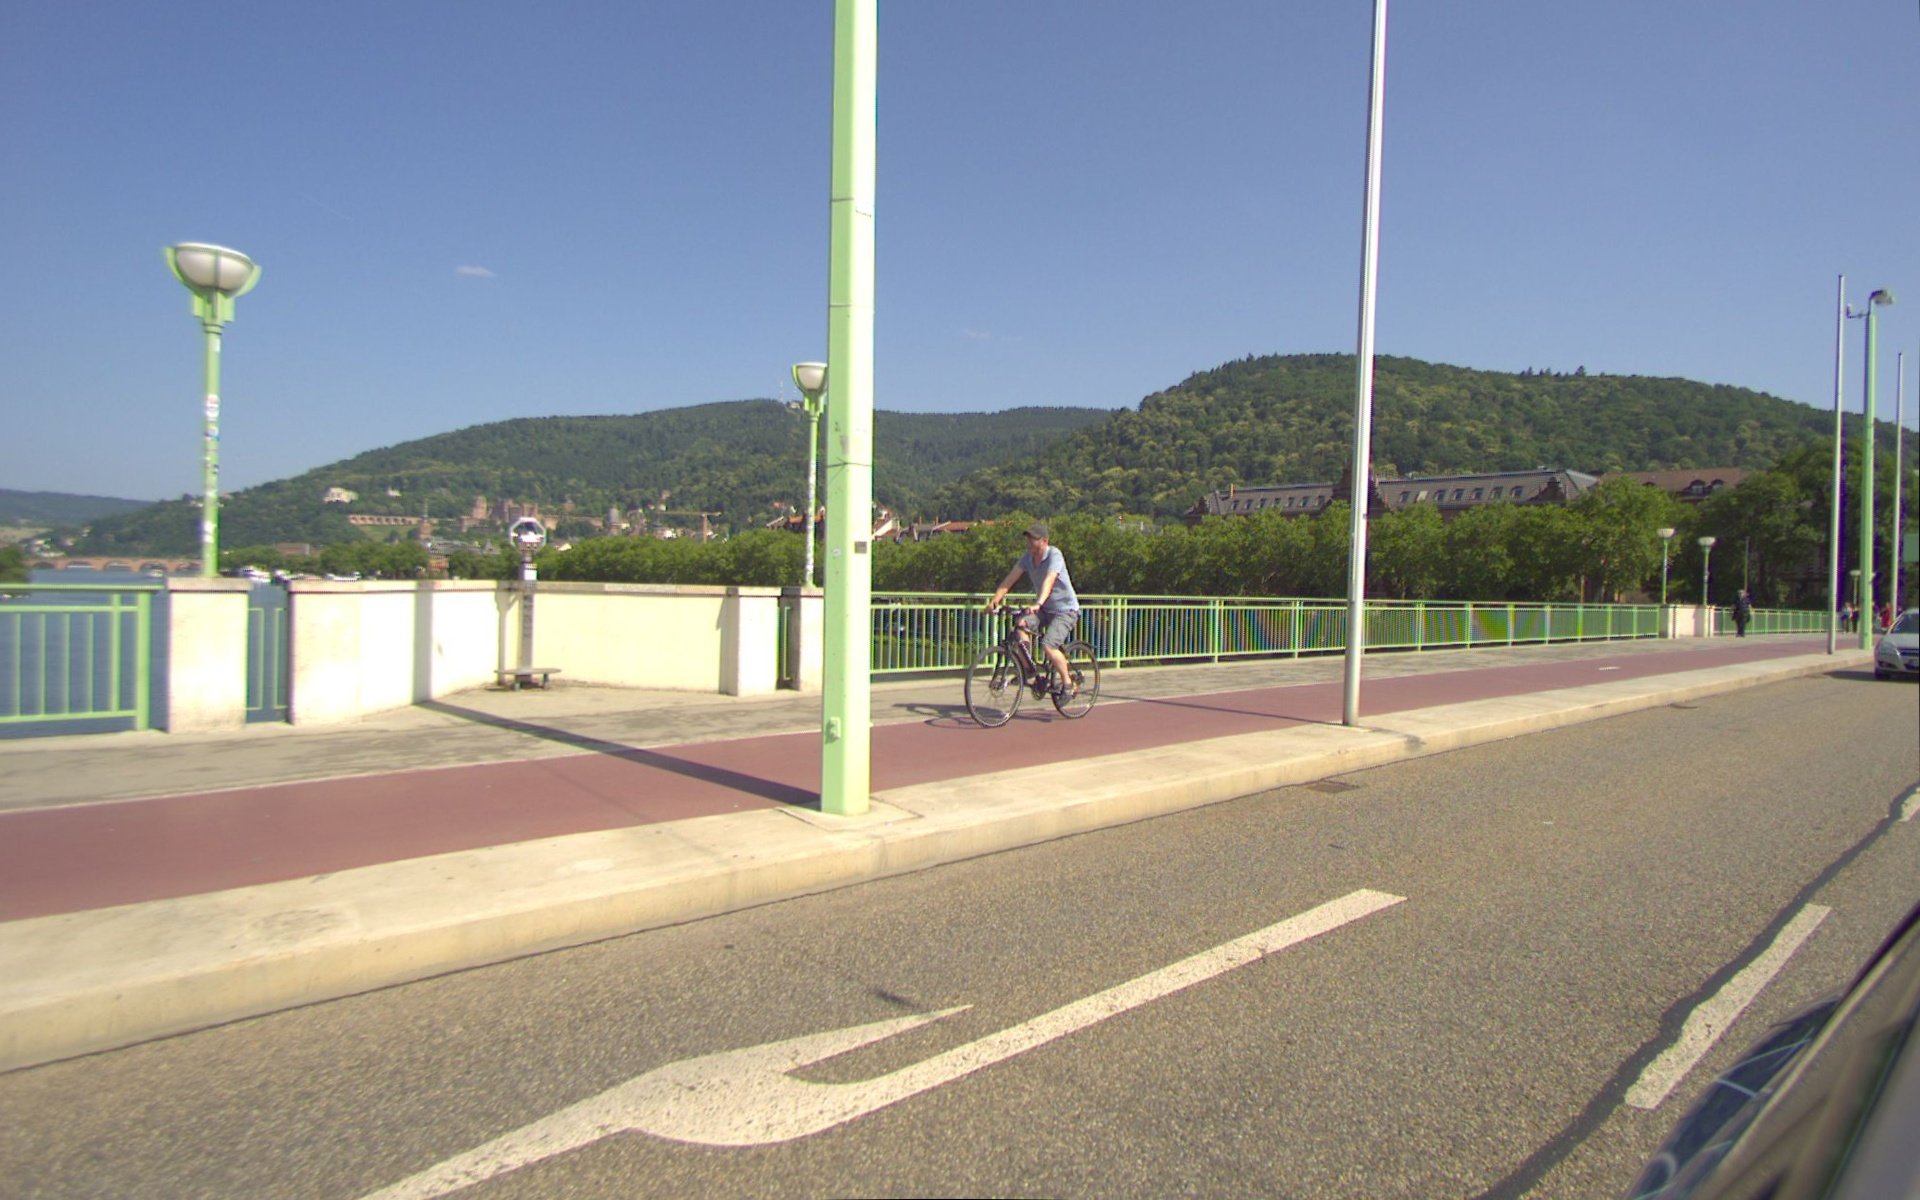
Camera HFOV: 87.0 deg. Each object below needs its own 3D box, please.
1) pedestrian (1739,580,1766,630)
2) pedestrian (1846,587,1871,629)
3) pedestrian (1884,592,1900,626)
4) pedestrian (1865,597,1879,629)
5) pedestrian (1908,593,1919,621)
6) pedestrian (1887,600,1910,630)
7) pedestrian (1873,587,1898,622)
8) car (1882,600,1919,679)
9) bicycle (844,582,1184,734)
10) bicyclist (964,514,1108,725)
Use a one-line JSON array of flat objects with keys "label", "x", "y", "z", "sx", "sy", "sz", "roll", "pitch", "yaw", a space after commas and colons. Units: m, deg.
[{"label": "pedestrian", "x": 29.197, "y": 0.188, "z": 37.274, "sx": 0.655, "sy": 1.766, "sz": 0.963, "roll": 2, "pitch": -1, "yaw": 44}, {"label": "pedestrian", "x": 45.413, "y": 0.395, "z": 51.141, "sx": 0.874, "sy": 2.039, "sz": 1.042, "roll": 2, "pitch": 1, "yaw": 44}, {"label": "pedestrian", "x": 49.615, "y": 0.480, "z": 53.876, "sx": 0.585, "sy": 1.816, "sz": 0.622, "roll": 2, "pitch": 1, "yaw": 44}, {"label": "pedestrian", "x": 49.152, "y": 0.691, "z": 54.518, "sx": 0.523, "sy": 1.670, "sz": 0.688, "roll": 2, "pitch": 1, "yaw": 43}, {"label": "pedestrian", "x": 58.607, "y": 0.412, "z": 62.055, "sx": 0.654, "sy": 1.670, "sz": 0.854, "roll": 2, "pitch": 1, "yaw": 43}, {"label": "pedestrian", "x": 58.383, "y": 0.945, "z": 62.949, "sx": 0.985, "sy": 1.791, "sz": 1.234, "roll": 3, "pitch": 1, "yaw": 43}, {"label": "pedestrian", "x": 52.227, "y": 0.257, "z": 57.091, "sx": 0.985, "sy": 1.919, "sz": 1.234, "roll": 2, "pitch": 1, "yaw": 44}, {"label": "car", "x": 20.445, "y": 0.804, "z": 20.824, "sx": 4.420, "sy": 1.520, "sz": 1.800, "roll": 1, "pitch": 0, "yaw": -43}, {"label": "bicycle", "x": 0.657, "y": 0.431, "z": 9.095, "sx": 0.793, "sy": 1.109, "sz": 3.684, "roll": 3, "pitch": 2, "yaw": 44}, {"label": "bicyclist", "x": 0.695, "y": 0.155, "z": 9.121, "sx": 0.673, "sy": 1.765, "sz": 1.132, "roll": 2, "pitch": 1, "yaw": 45}]
